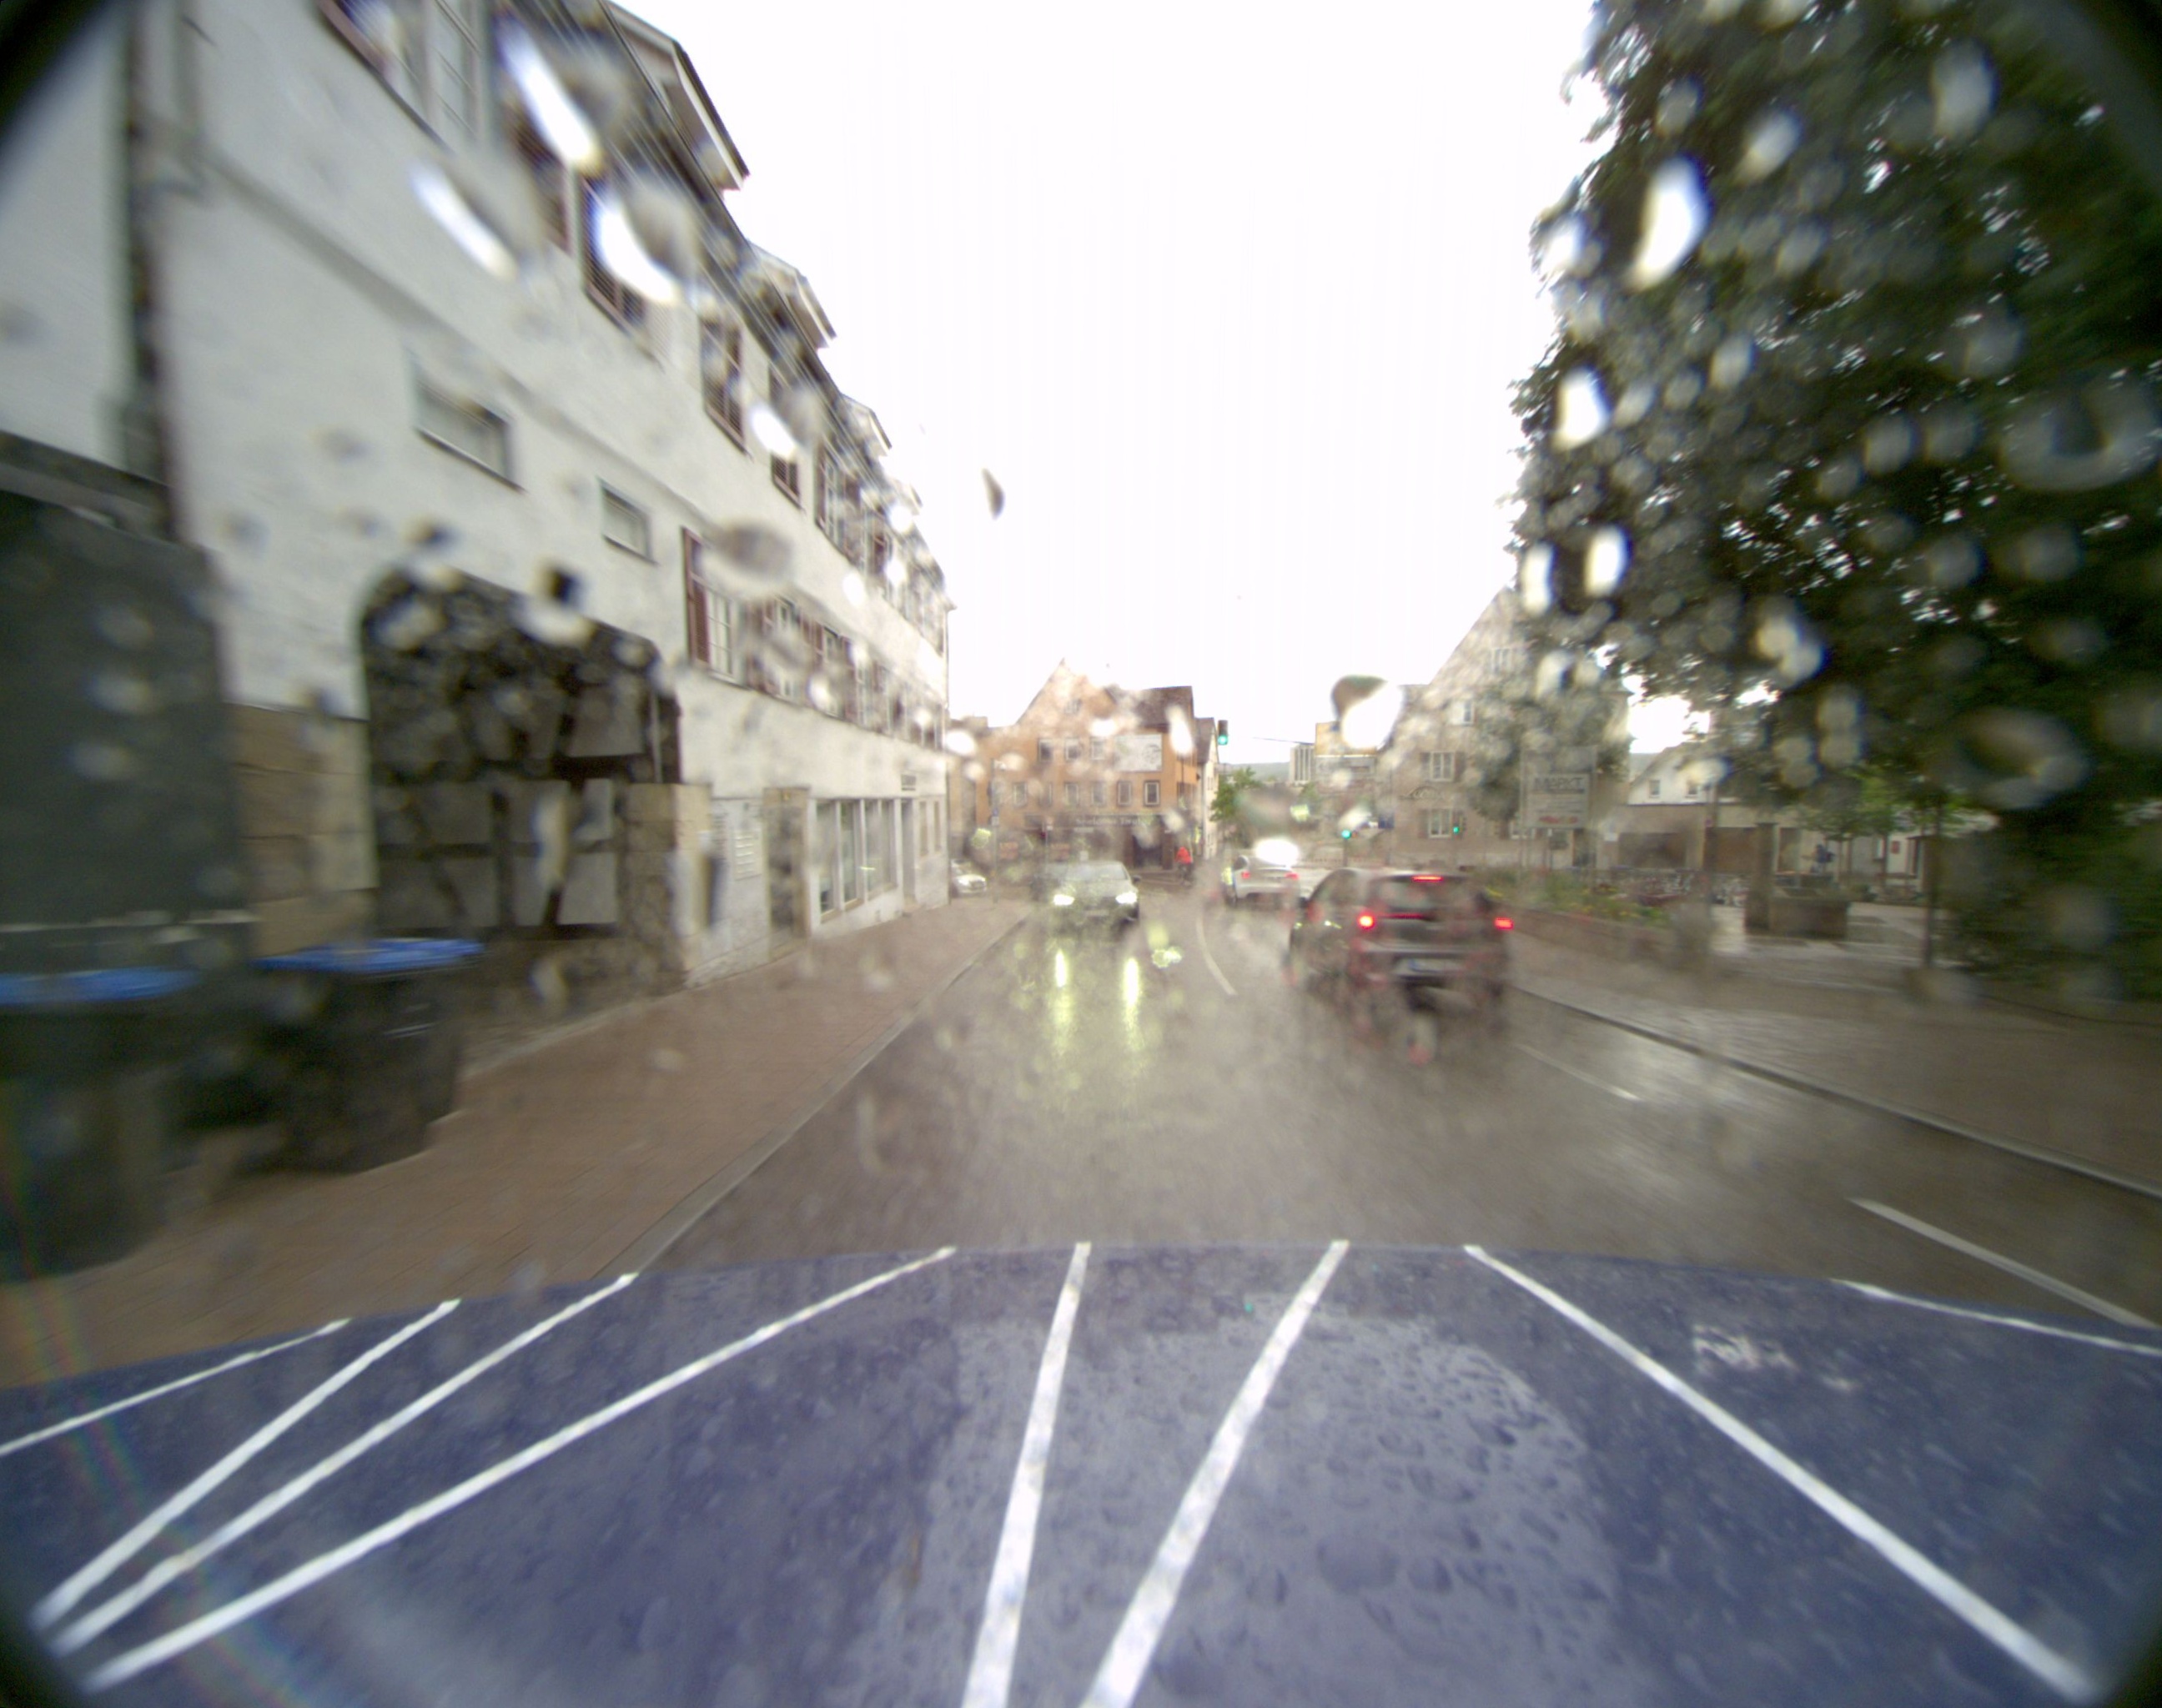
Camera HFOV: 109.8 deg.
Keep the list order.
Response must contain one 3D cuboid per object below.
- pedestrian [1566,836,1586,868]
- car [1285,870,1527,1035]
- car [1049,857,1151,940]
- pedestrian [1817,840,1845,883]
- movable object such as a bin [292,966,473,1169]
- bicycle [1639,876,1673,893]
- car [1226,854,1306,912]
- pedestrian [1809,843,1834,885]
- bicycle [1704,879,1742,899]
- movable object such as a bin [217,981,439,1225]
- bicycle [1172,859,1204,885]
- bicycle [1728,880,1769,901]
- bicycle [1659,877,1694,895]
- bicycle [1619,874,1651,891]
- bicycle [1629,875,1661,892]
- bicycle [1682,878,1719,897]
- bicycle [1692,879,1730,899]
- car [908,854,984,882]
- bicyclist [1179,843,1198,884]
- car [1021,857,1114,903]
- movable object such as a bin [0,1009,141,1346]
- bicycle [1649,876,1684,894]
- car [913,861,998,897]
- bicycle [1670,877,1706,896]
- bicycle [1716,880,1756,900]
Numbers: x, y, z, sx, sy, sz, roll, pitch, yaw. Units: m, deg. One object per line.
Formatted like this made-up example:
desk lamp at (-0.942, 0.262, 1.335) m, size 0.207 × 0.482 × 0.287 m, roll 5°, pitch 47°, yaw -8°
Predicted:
pedestrian at (26.739, -0.126, 41.056) m, size 0.705 × 1.701 × 0.677 m, roll 0°, pitch 1°, yaw 16°
car at (3.527, 0.955, 8.949) m, size 1.612 × 1.463 × 3.587 m, roll 1°, pitch 0°, yaw 6°
car at (0.351, 0.882, 17.103) m, size 1.967 × 1.549 × 4.622 m, roll -1°, pitch 0°, yaw 0°
pedestrian at (35.332, 0.337, 35.807) m, size 0.675 × 2.002 × 0.708 m, roll 0°, pitch 1°, yaw 14°
movable object such as a bin at (-3.999, 1.201, 4.379) m, size 0.596 × 1.022 × 0.476 m, roll 1°, pitch 1°, yaw 1°
bicycle at (19.980, 1.058, 26.418) m, size 0.853 × 0.602 × 0.407 m, roll 0°, pitch 1°, yaw 1°
car at (5.671, 0.824, 23.826) m, size 1.966 × 1.598 × 4.385 m, roll 1°, pitch 0°, yaw 8°
pedestrian at (35.548, 0.459, 36.461) m, size 0.675 × 2.002 × 0.500 m, roll 0°, pitch 1°, yaw 12°
bicycle at (19.964, 1.083, 23.631) m, size 0.853 × 0.602 × 0.407 m, roll 0°, pitch 1°, yaw 1°
movable object such as a bin at (-3.624, 1.173, 3.692) m, size 0.596 × 1.022 × 0.476 m, roll 1°, pitch 1°, yaw 1°
bicycle at (5.084, 0.822, 36.266) m, size 0.666 × 1.174 × 2.133 m, roll -2°, pitch 0°, yaw -15°
bicycle at (19.914, 1.090, 22.665) m, size 0.853 × 0.602 × 0.407 m, roll 0°, pitch 1°, yaw 1°
bicycle at (19.959, 1.069, 25.469) m, size 0.853 × 0.602 × 0.407 m, roll 0°, pitch 1°, yaw 1°
bicycle at (19.989, 1.039, 27.403) m, size 0.853 × 0.602 × 0.407 m, roll 0°, pitch 1°, yaw 1°
bicycle at (19.968, 1.051, 26.908) m, size 0.853 × 0.602 × 0.407 m, roll 0°, pitch 1°, yaw 1°
bicycle at (19.979, 1.088, 24.513) m, size 0.853 × 0.602 × 0.407 m, roll 0°, pitch 1°, yaw 1°
bicycle at (19.964, 1.100, 24.067) m, size 0.853 × 0.602 × 0.407 m, roll 0°, pitch 1°, yaw 1°
car at (-8.279, 0.816, 46.453) m, size 4.370 × 1.598 × 1.973 m, roll 1°, pitch 1°, yaw 32°
bicyclist at (5.111, 0.434, 36.082) m, size 0.692 × 1.923 × 0.569 m, roll -2°, pitch 1°, yaw -15°
car at (-0.600, 0.938, 28.587) m, size 1.971 × 1.598 × 4.375 m, roll 0°, pitch -1°, yaw -23°
movable object such as a bin at (-3.802, 1.125, 2.657) m, size 0.571 × 1.022 × 0.467 m, roll 1°, pitch 1°, yaw -41°
bicycle at (19.979, 1.056, 25.939) m, size 0.853 × 0.602 × 0.407 m, roll 0°, pitch 1°, yaw 1°
car at (-6.090, 1.155, 36.551) m, size 1.973 × 1.598 × 4.371 m, roll -1°, pitch 0°, yaw -42°
bicycle at (19.969, 1.067, 24.999) m, size 0.853 × 0.602 × 0.407 m, roll 0°, pitch 1°, yaw 1°
bicycle at (19.939, 1.087, 23.140) m, size 0.853 × 0.602 × 0.407 m, roll 0°, pitch 1°, yaw 1°
